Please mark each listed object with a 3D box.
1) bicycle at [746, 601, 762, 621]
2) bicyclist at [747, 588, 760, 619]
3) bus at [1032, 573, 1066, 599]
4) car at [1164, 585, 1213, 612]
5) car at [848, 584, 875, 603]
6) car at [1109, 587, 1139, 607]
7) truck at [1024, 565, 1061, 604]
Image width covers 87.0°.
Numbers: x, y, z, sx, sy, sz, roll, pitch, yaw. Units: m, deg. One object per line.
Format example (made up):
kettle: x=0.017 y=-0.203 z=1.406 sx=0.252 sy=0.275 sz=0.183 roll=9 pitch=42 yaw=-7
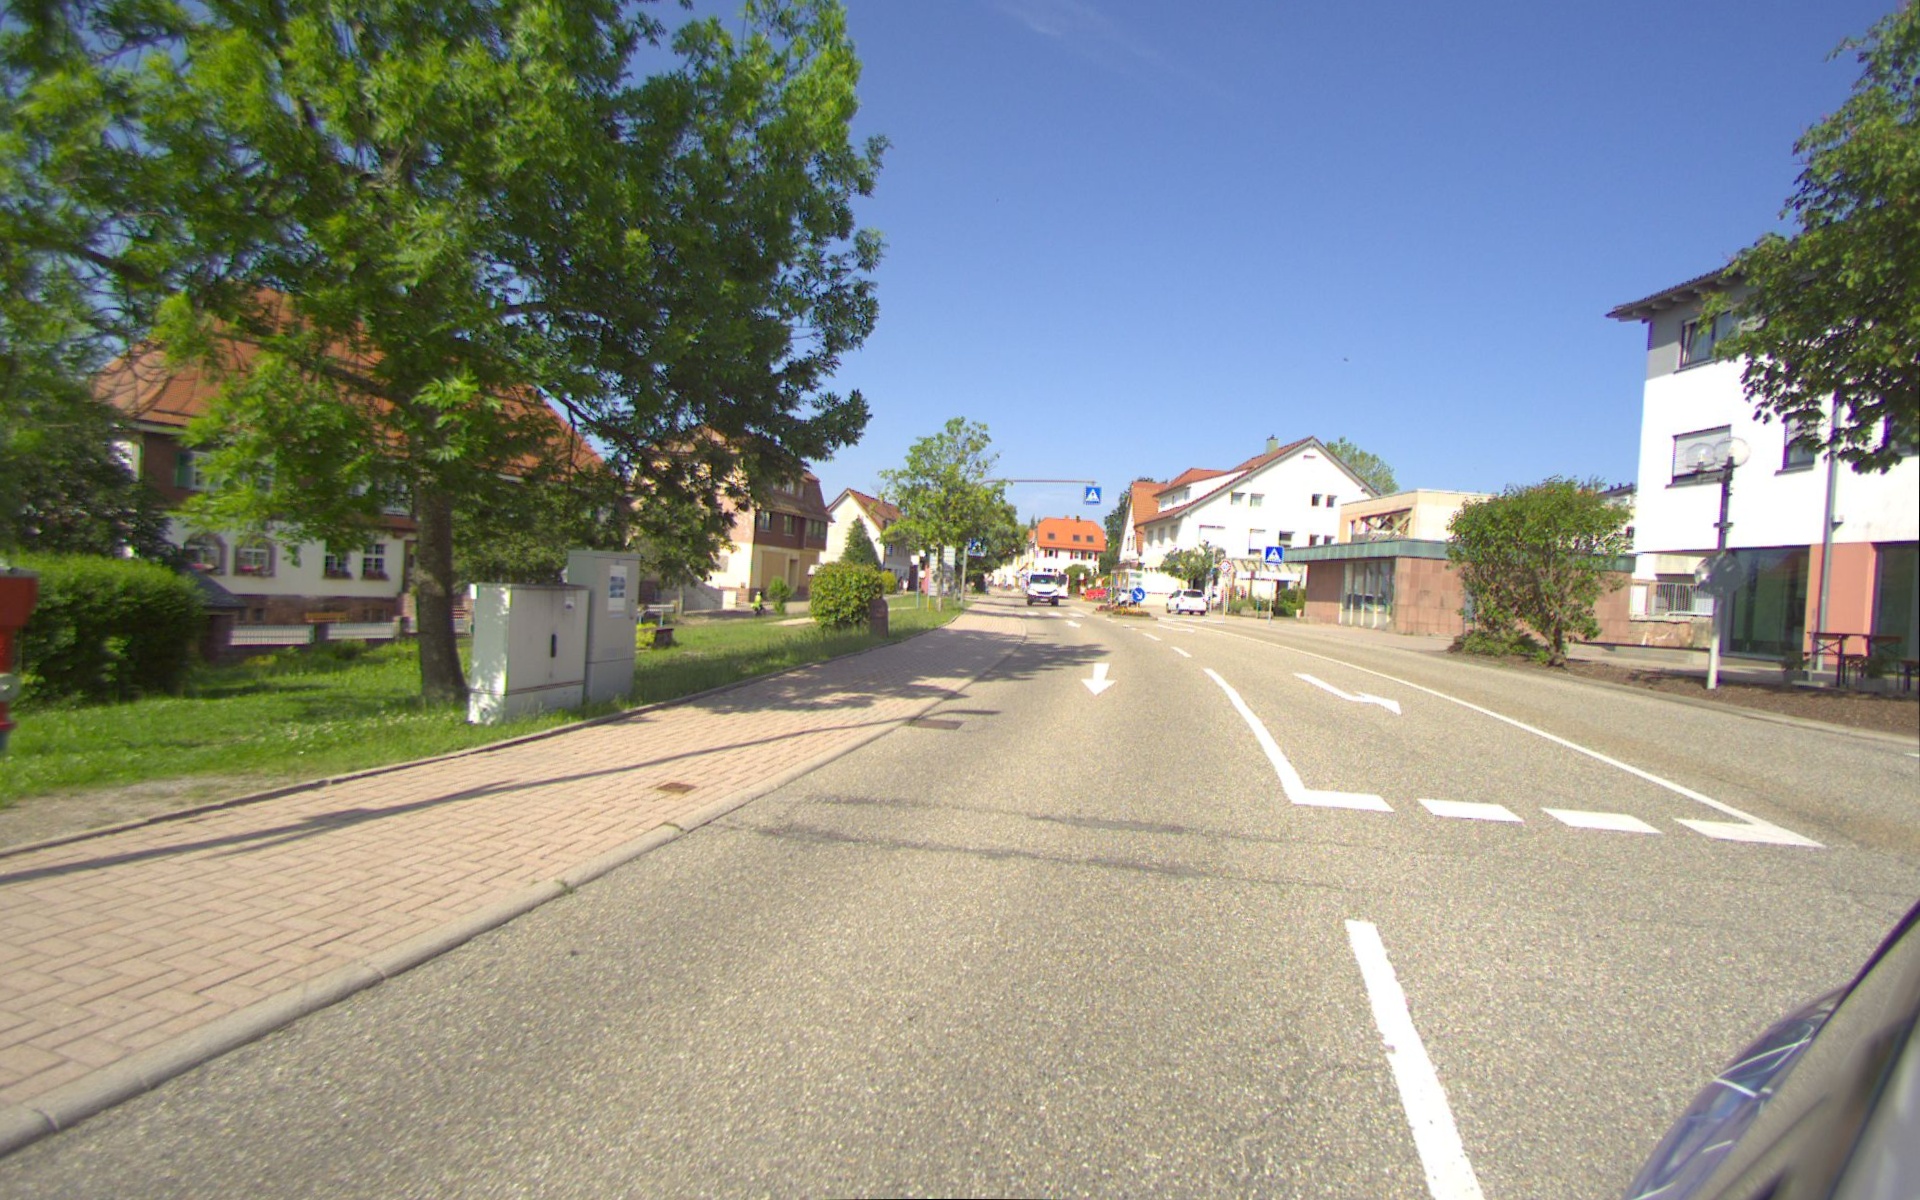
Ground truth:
bicycle: x=-13.362 y=0.703 z=65.542 sx=0.529 sy=1.205 sz=1.725 roll=0 pitch=1 yaw=6
bicyclist: x=-13.372 y=0.211 z=65.503 sx=0.572 sy=1.949 sz=0.996 roll=0 pitch=1 yaw=6
bus: x=11.330 y=-1.710 z=130.562 sx=2.665 sy=3.052 sz=15.223 roll=2 pitch=0 yaw=-1
car: x=13.178 y=-0.110 z=58.670 sx=1.741 sy=1.486 sz=3.717 roll=0 pitch=1 yaw=-4
car: x=-8.007 y=-0.558 z=82.588 sx=1.743 sy=1.451 sz=3.712 roll=0 pitch=1 yaw=2
car: x=12.500 y=-0.217 z=77.239 sx=1.743 sy=1.451 sz=3.713 roll=0 pitch=1 yaw=1
truck: x=5.506 y=-1.088 z=68.201 sx=1.963 sy=2.370 sz=6.494 roll=2 pitch=2 yaw=1
